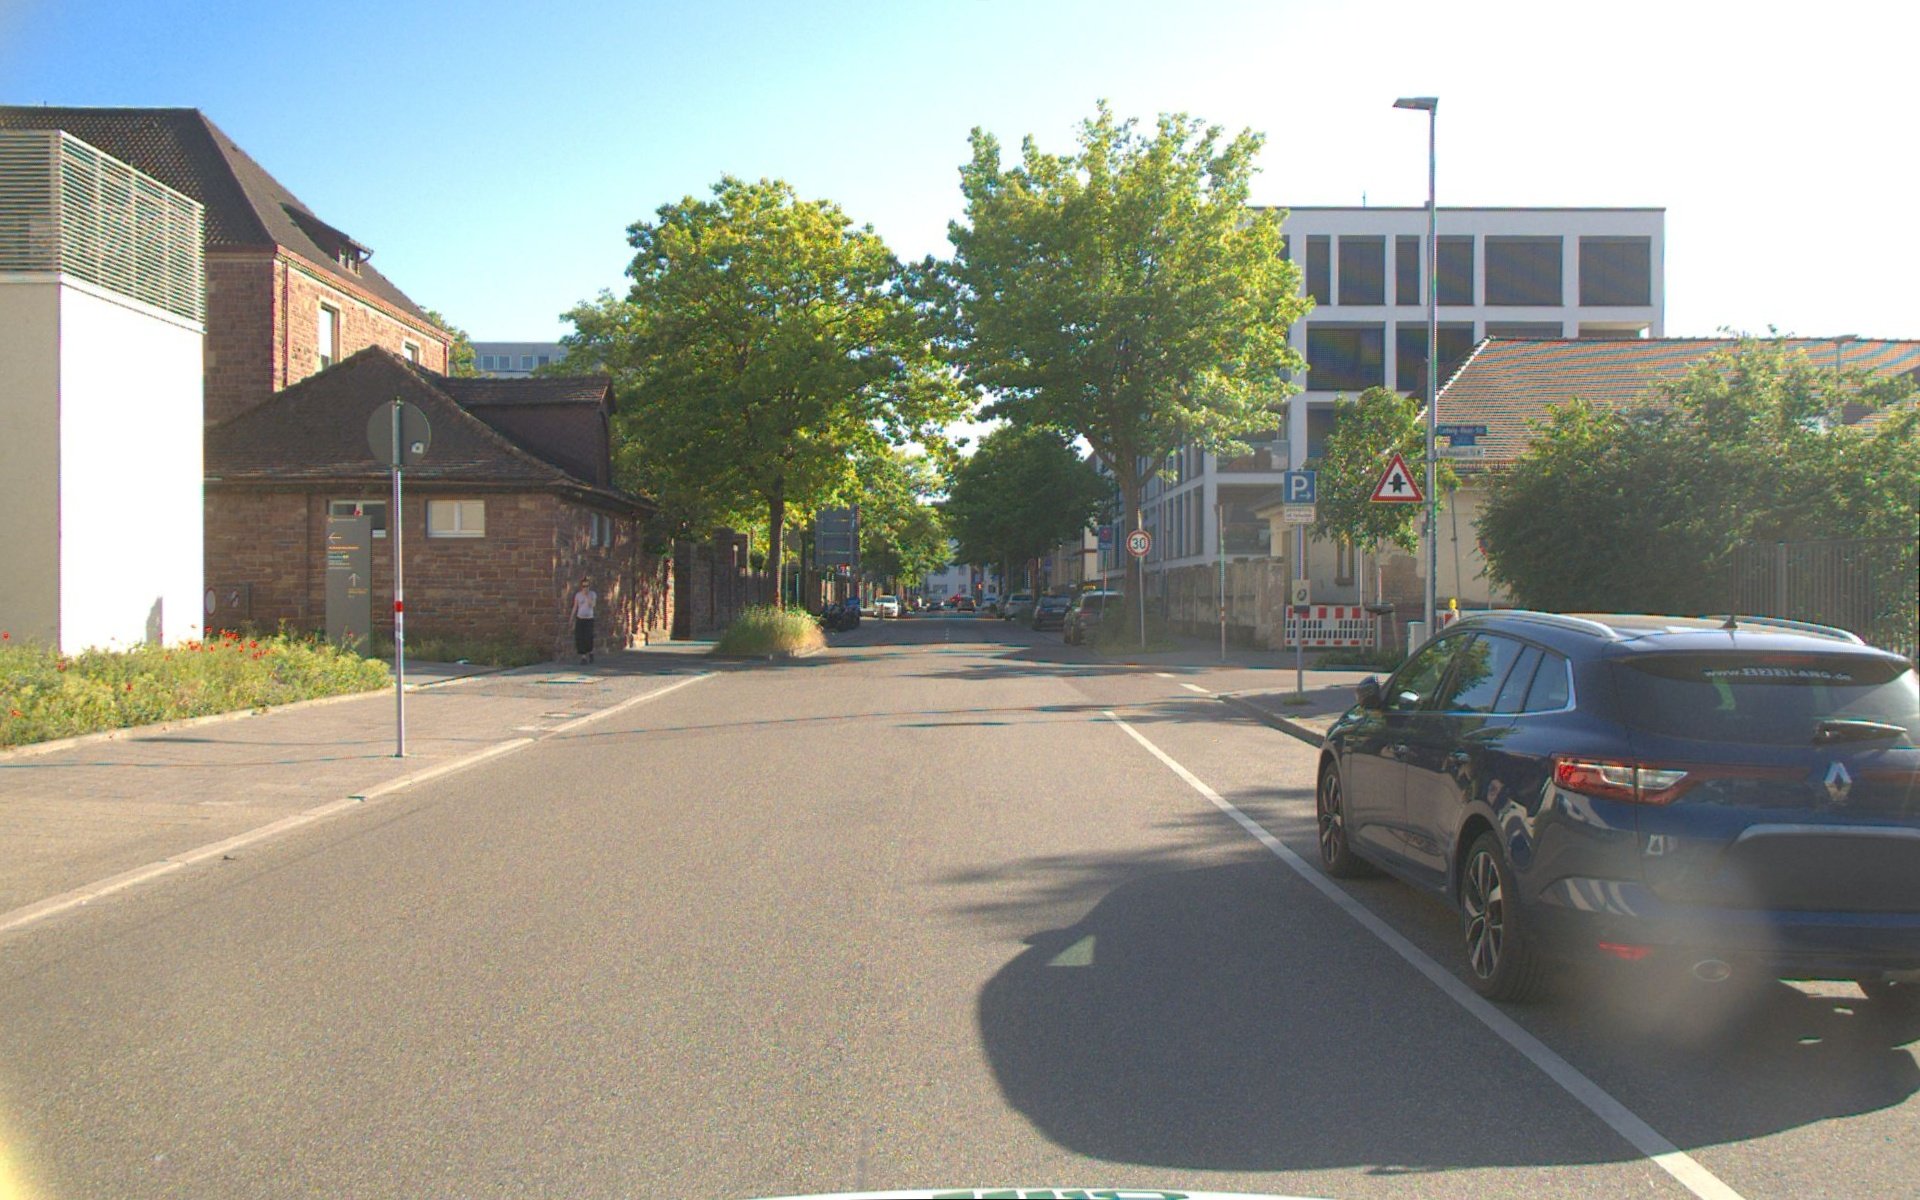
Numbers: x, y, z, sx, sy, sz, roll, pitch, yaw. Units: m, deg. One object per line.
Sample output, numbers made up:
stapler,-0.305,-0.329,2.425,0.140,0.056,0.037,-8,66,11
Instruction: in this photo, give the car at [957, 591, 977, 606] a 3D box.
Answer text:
car,0.704,-0.134,157.276,1.850,1.424,3.837,0,0,1

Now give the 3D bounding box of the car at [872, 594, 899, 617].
car,-4.913,0.349,109.446,1.731,1.513,3.999,0,0,-1

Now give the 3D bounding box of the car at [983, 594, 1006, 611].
car,3.036,0.230,145.157,1.952,1.450,3.836,0,0,1

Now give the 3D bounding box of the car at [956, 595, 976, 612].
car,0.579,0.318,154.905,1.731,1.575,4.065,0,0,-1

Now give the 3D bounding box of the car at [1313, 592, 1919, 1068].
car,2.915,0.738,7.420,1.780,1.478,4.214,2,1,1

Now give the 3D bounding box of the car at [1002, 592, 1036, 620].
car,3.446,0.363,96.998,1.910,1.606,3.836,0,0,1

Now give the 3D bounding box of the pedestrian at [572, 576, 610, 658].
pedestrian,-7.233,0.328,32.416,0.510,1.590,1.096,0,0,-1

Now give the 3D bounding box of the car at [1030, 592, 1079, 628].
car,3.880,0.395,68.390,1.731,1.465,3.999,0,0,-1

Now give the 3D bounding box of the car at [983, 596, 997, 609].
car,3.220,0.275,178.371,1.553,1.424,3.836,0,0,1

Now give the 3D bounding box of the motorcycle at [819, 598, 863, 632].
motorcycle,-4.669,0.576,65.042,0.566,1.298,2.116,0,0,33

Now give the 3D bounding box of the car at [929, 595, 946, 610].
car,-2.251,0.237,164.277,1.619,1.557,4.000,0,0,0

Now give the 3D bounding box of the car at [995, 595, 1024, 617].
car,3.353,0.391,112.735,1.952,1.491,3.836,0,0,1

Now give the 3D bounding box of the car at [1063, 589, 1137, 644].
car,3.944,0.439,47.164,1.668,1.494,4.788,0,0,-1

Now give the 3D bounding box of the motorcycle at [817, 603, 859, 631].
motorcycle,-4.883,0.661,66.339,0.566,1.093,2.116,0,0,33
